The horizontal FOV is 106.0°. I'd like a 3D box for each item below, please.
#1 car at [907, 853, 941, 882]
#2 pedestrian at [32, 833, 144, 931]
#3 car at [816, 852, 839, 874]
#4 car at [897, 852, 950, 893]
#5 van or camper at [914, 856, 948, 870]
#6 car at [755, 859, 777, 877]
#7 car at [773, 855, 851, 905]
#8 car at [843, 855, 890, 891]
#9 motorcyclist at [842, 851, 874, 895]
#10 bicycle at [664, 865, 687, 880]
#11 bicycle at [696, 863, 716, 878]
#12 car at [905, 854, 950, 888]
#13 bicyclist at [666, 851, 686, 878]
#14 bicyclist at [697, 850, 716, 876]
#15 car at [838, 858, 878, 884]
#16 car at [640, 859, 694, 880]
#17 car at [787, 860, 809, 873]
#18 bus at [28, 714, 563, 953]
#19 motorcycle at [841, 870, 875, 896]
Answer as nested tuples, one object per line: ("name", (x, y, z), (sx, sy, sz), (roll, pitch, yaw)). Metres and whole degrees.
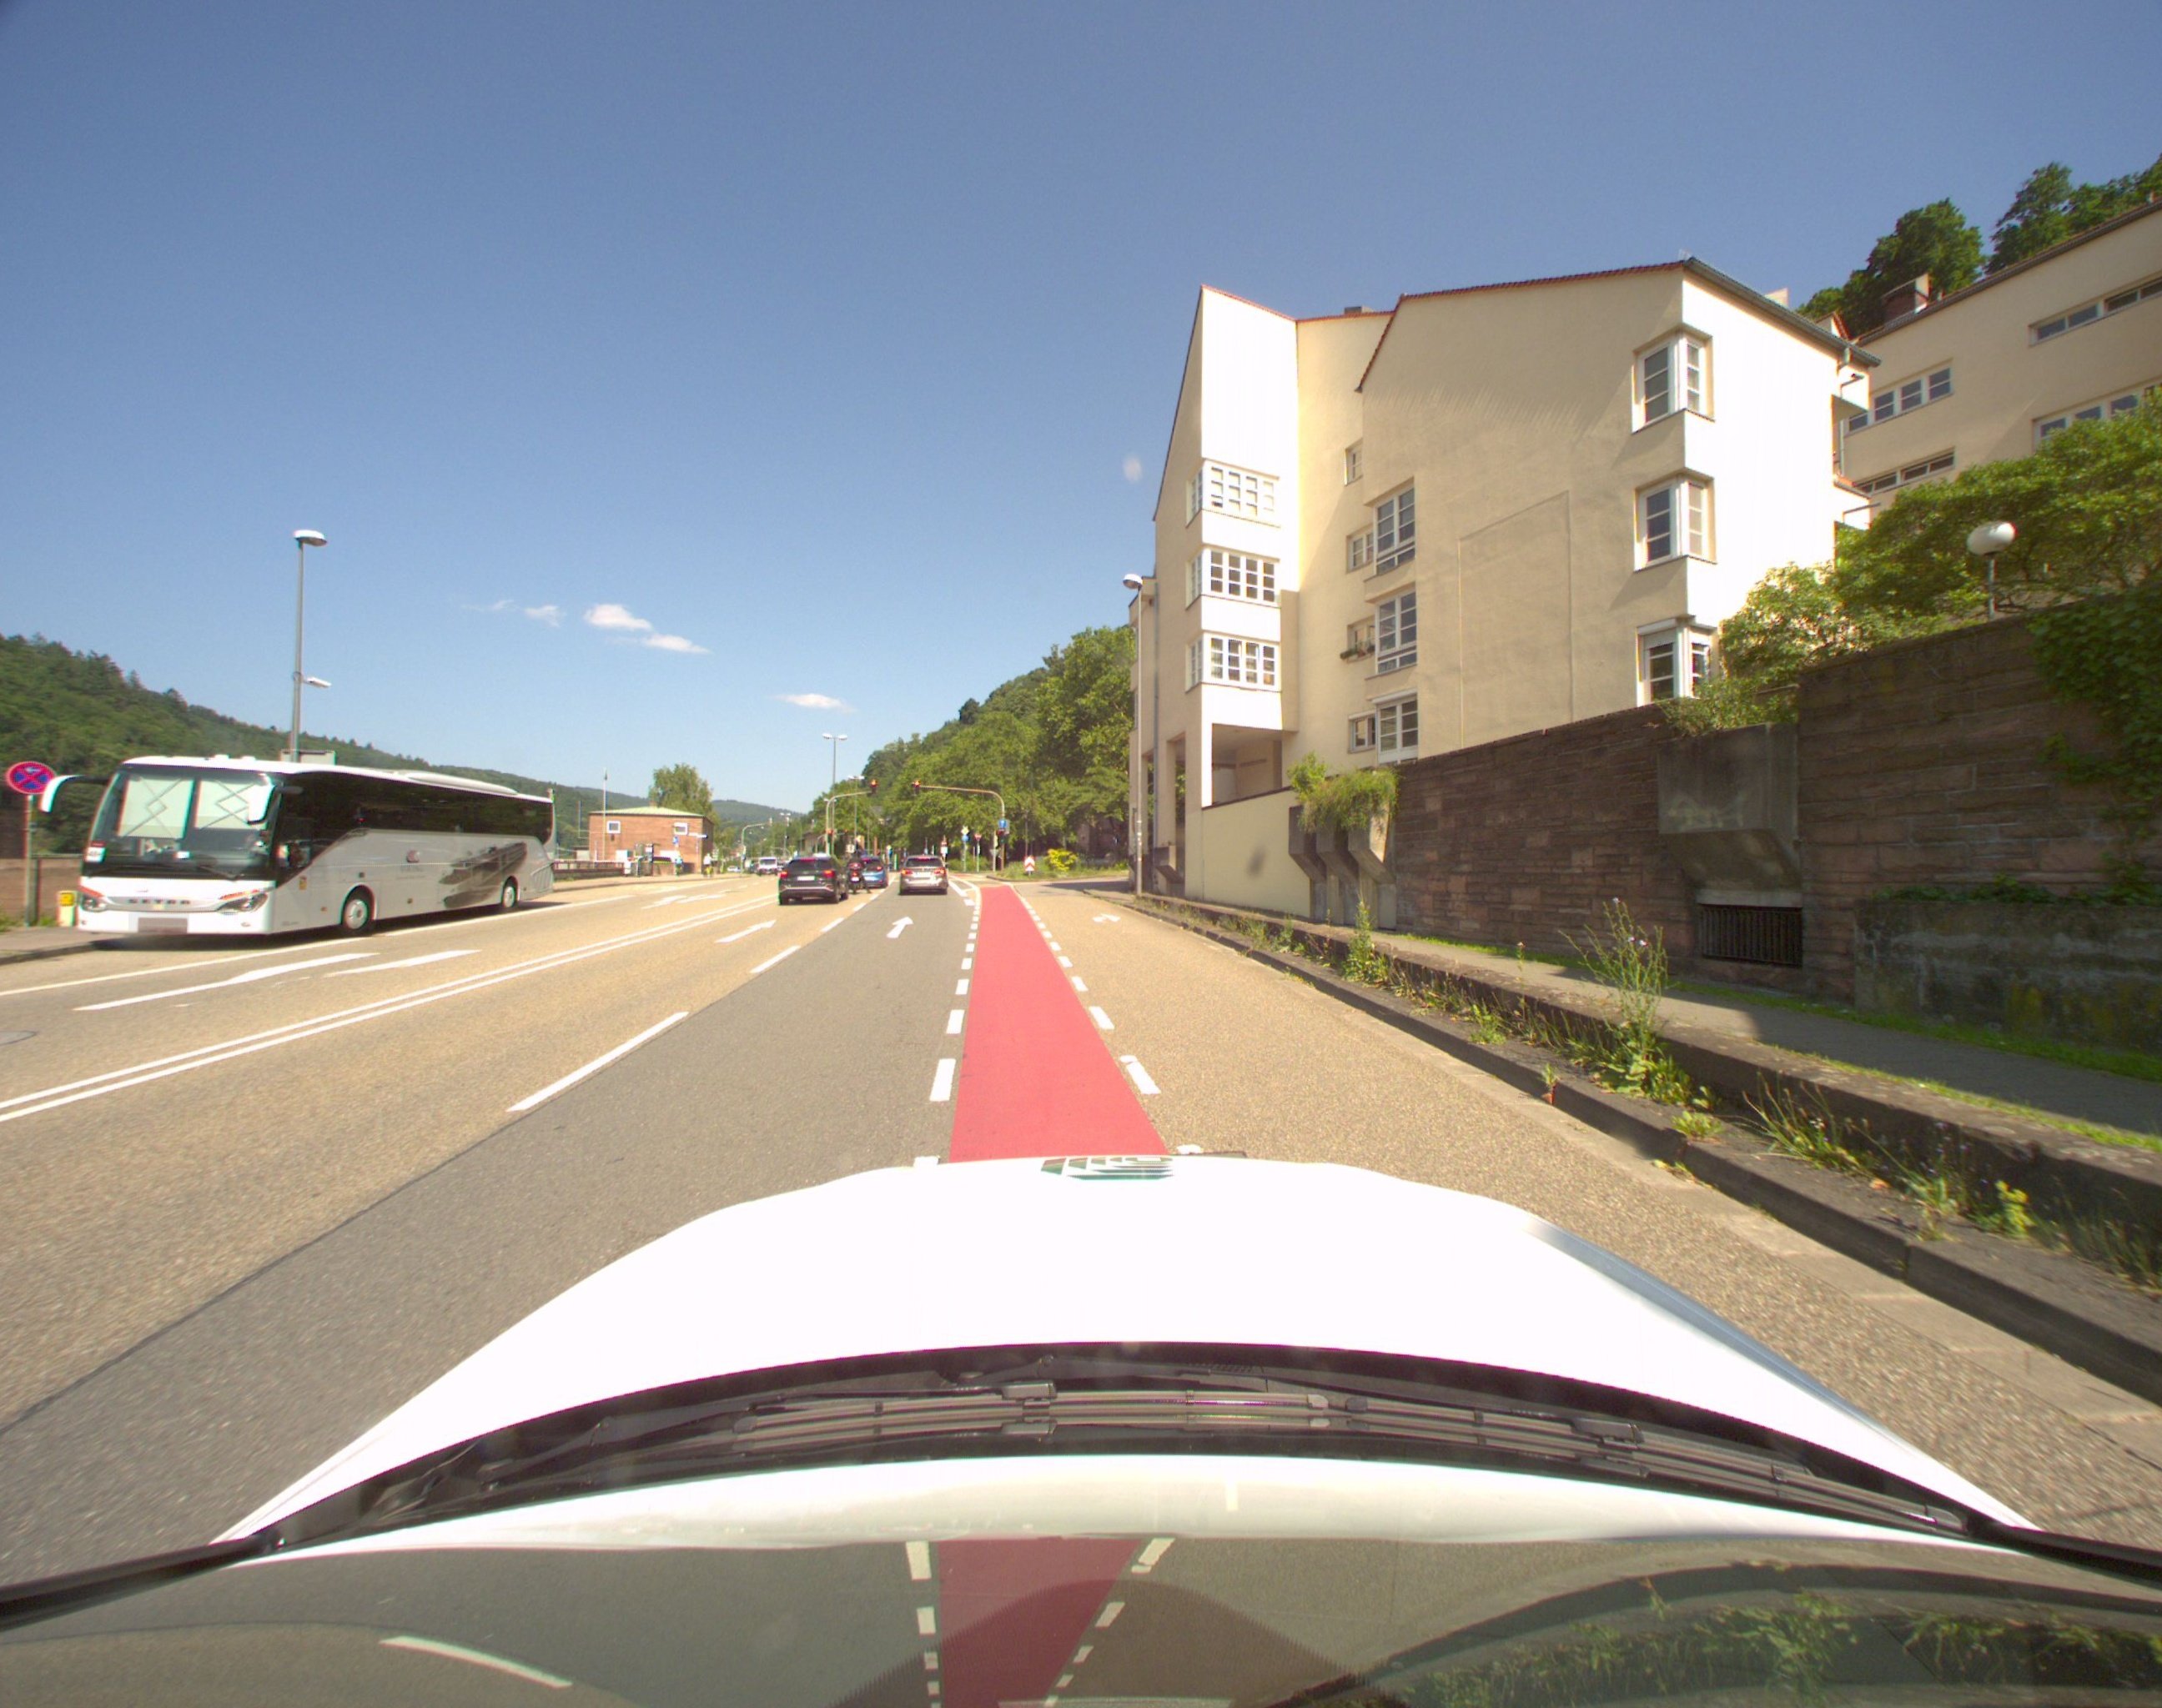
("car", (-9.090, 0.775, 47.126), (1.786, 1.532, 4.719), (-1, 0, -11))
("pedestrian", (-19.011, 0.516, 15.623), (0.894, 1.796, 1.035), (0, -1, -15))
("car", (-31.667, 1.144, 101.439), (2.392, 2.576, 6.013), (-1, 0, -20))
("car", (-6.228, 0.709, 32.557), (1.887, 1.521, 4.293), (1, -1, -9))
("van or camper", (-22.437, 1.342, 121.880), (4.518, 1.902, 2.004), (-1, 0, 7))
("car", (-36.785, 1.604, 95.250), (2.221, 2.078, 5.011), (-1, 0, -19))
("car", (-8.764, 0.820, 26.845), (1.869, 1.514, 4.136), (1, -1, -10))
("car", (-10.140, 0.871, 38.754), (1.867, 1.562, 3.985), (-1, 0, -11))
("motorcyclist", (-8.889, 0.741, 32.482), (1.075, 1.684, 1.152), (-1, 0, -10))
("bicycle", (-31.246, 1.442, 62.788), (1.216, 1.090, 2.580), (-1, 0, -20))
("bicycle", (-29.801, 1.302, 64.735), (1.216, 1.090, 2.580), (-1, 0, -20))
("car", (-7.522, 0.781, 40.124), (1.994, 1.533, 4.842), (-1, 0, -10))
("bicyclist", (-31.302, 0.809, 62.891), (1.216, 2.013, 1.111), (-1, 0, -20))
("bicyclist", (-29.829, 0.734, 64.845), (1.216, 2.013, 1.111), (-1, 0, -20))
("car", (-12.599, 0.947, 46.117), (1.867, 1.359, 3.985), (-1, 0, -11))
("car", (-43.130, 1.598, 84.957), (1.974, 2.013, 4.647), (-1, 0, 38))
("car", (-33.736, 1.448, 97.053), (1.996, 1.432, 4.149), (-1, 0, -13))
("bus", (-16.990, -0.316, 19.929), (2.960, 3.801, 13.181), (3, -1, -14))
("motorcycle", (-8.903, 1.142, 32.607), (1.038, 0.919, 2.597), (-1, 0, -9))
